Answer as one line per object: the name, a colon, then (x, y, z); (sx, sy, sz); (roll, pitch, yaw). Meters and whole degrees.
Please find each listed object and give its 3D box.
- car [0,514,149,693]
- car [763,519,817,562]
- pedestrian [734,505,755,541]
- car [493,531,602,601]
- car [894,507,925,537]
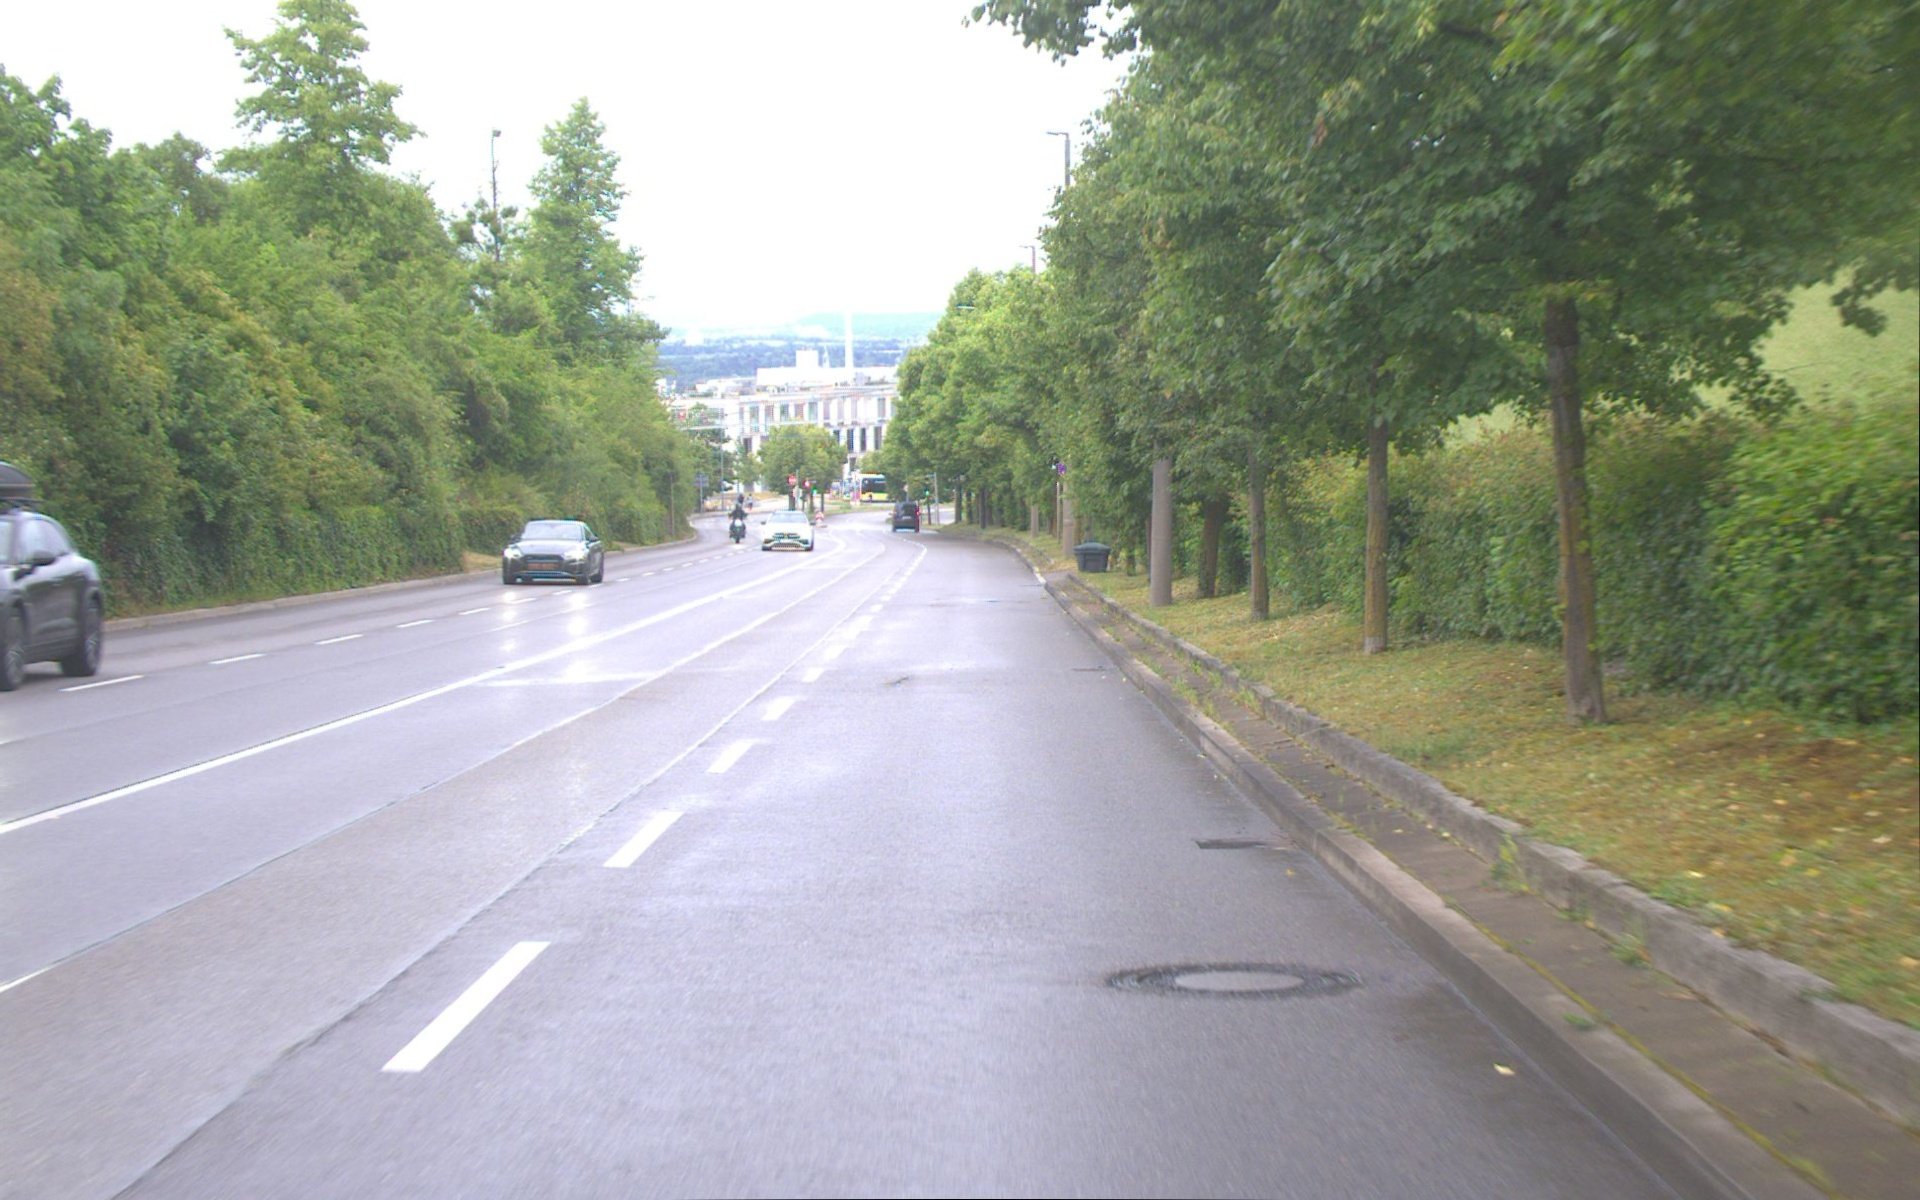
car: (-9.117, -0.034, 32.141); (1.899, 1.547, 4.630); (2, 1, 1)
car: (-6.296, -2.235, 127.843); (1.715, 1.500, 4.517); (1, 1, 0)
pedestrian: (-9.281, -3.295, 147.974); (0.805, 1.536, 1.111); (1, 1, 0)
car: (-8.971, -0.774, 75.104); (1.759, 1.376, 4.838); (1, 2, 0)
car: (-3.131, -4.794, 212.135); (1.849, 1.696, 3.793); (1, 0, -1)
